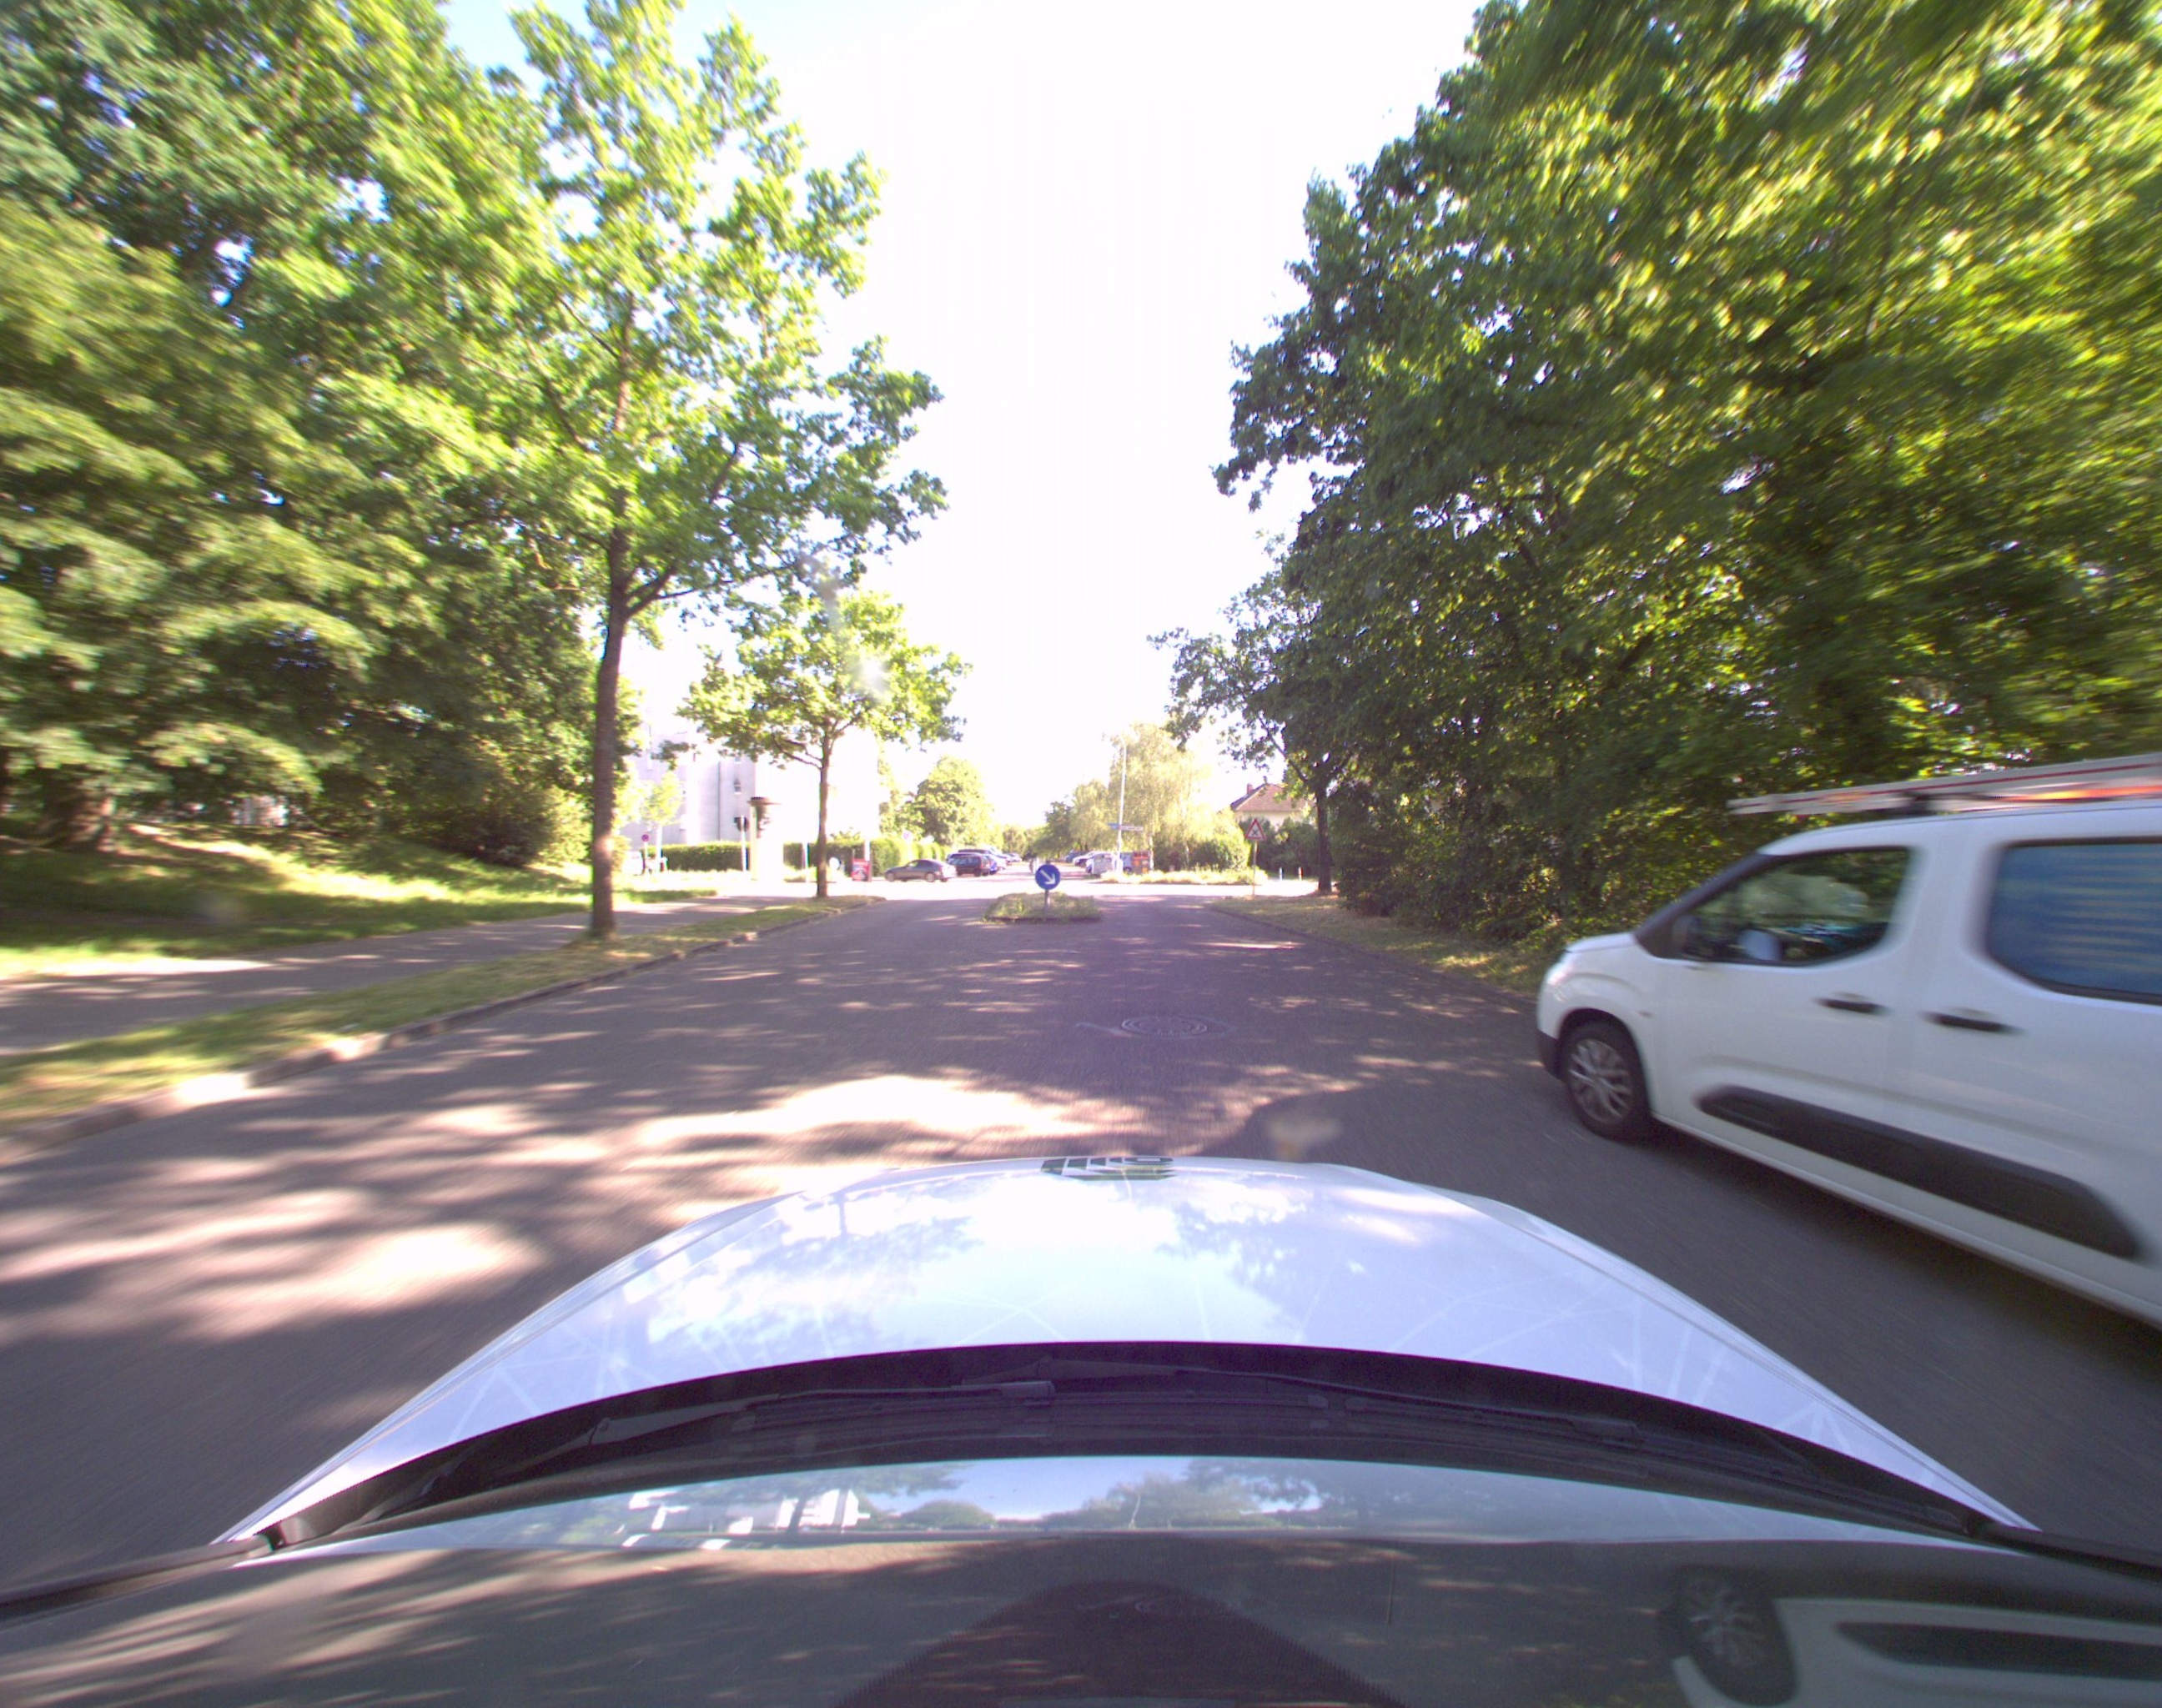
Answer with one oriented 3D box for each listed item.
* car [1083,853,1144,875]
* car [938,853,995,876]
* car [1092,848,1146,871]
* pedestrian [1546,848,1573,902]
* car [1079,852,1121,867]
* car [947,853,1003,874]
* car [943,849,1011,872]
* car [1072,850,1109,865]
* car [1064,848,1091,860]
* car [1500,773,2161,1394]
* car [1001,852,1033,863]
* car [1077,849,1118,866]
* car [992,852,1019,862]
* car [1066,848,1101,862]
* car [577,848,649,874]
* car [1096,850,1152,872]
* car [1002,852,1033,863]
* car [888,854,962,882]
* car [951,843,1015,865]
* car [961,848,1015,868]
[{"bbox_3d":[2.273,0.701,57.018,4.027,1.439,1.639,1,0,10],"label":"car"},{"bbox_3d":[-7.940,0.709,56.438,3.497,1.466,1.711,0,2,14],"label":"car"},{"bbox_3d":[3.037,0.443,65.470,4.103,1.706,1.785,0,1,-9],"label":"car"},{"bbox_3d":[14.000,0.609,23.823,0.397,1.561,0.534,0,-1,-24],"label":"pedestrian"},{"bbox_3d":[1.859,0.498,78.227,3.973,1.401,1.797,1,-1,0],"label":"car"},{"bbox_3d":[-7.644,0.686,59.074,3.657,1.496,1.656,-1,0,10],"label":"car"},{"bbox_3d":[-8.000,0.512,63.001,4.972,1.654,1.786,-1,0,2],"label":"car"},{"bbox_3d":[1.033,0.397,87.287,3.973,1.585,1.797,1,-1,0],"label":"car"},{"bbox_3d":[-0.530,0.008,124.247,3.973,1.708,1.797,1,-1,0],"label":"car"},{"bbox_3d":[3.853,0.660,3.215,1.747,1.749,4.626,1,0,-5],"label":"car"},{"bbox_3d":[-7.902,0.424,100.502,3.931,1.334,1.845,0,0,-4],"label":"car"},{"bbox_3d":[1.653,0.357,81.095,3.973,1.585,1.797,1,-1,0],"label":"car"},{"bbox_3d":[-11.165,0.430,120.671,3.931,1.334,1.845,0,0,-4],"label":"car"},{"bbox_3d":[0.305,0.091,95.719,3.973,1.585,1.797,1,-1,0],"label":"car"},{"bbox_3d":[-34.868,0.550,60.705,4.895,1.912,2.010,-1,-1,20],"label":"car"},{"bbox_3d":[3.276,0.505,62.558,4.050,1.603,1.786,1,1,-8],"label":"car"},{"bbox_3d":[-8.006,0.416,102.981,3.931,1.334,1.845,0,0,-4],"label":"car"},{"bbox_3d":[-9.540,0.868,49.935,4.029,1.643,1.893,-1,-1,20],"label":"car"},{"bbox_3d":[-9.810,0.011,81.796,6.246,2.147,2.407,0,0,-5],"label":"car"},{"bbox_3d":[-8.250,0.376,72.608,4.504,1.771,1.848,0,0,2],"label":"car"}]
